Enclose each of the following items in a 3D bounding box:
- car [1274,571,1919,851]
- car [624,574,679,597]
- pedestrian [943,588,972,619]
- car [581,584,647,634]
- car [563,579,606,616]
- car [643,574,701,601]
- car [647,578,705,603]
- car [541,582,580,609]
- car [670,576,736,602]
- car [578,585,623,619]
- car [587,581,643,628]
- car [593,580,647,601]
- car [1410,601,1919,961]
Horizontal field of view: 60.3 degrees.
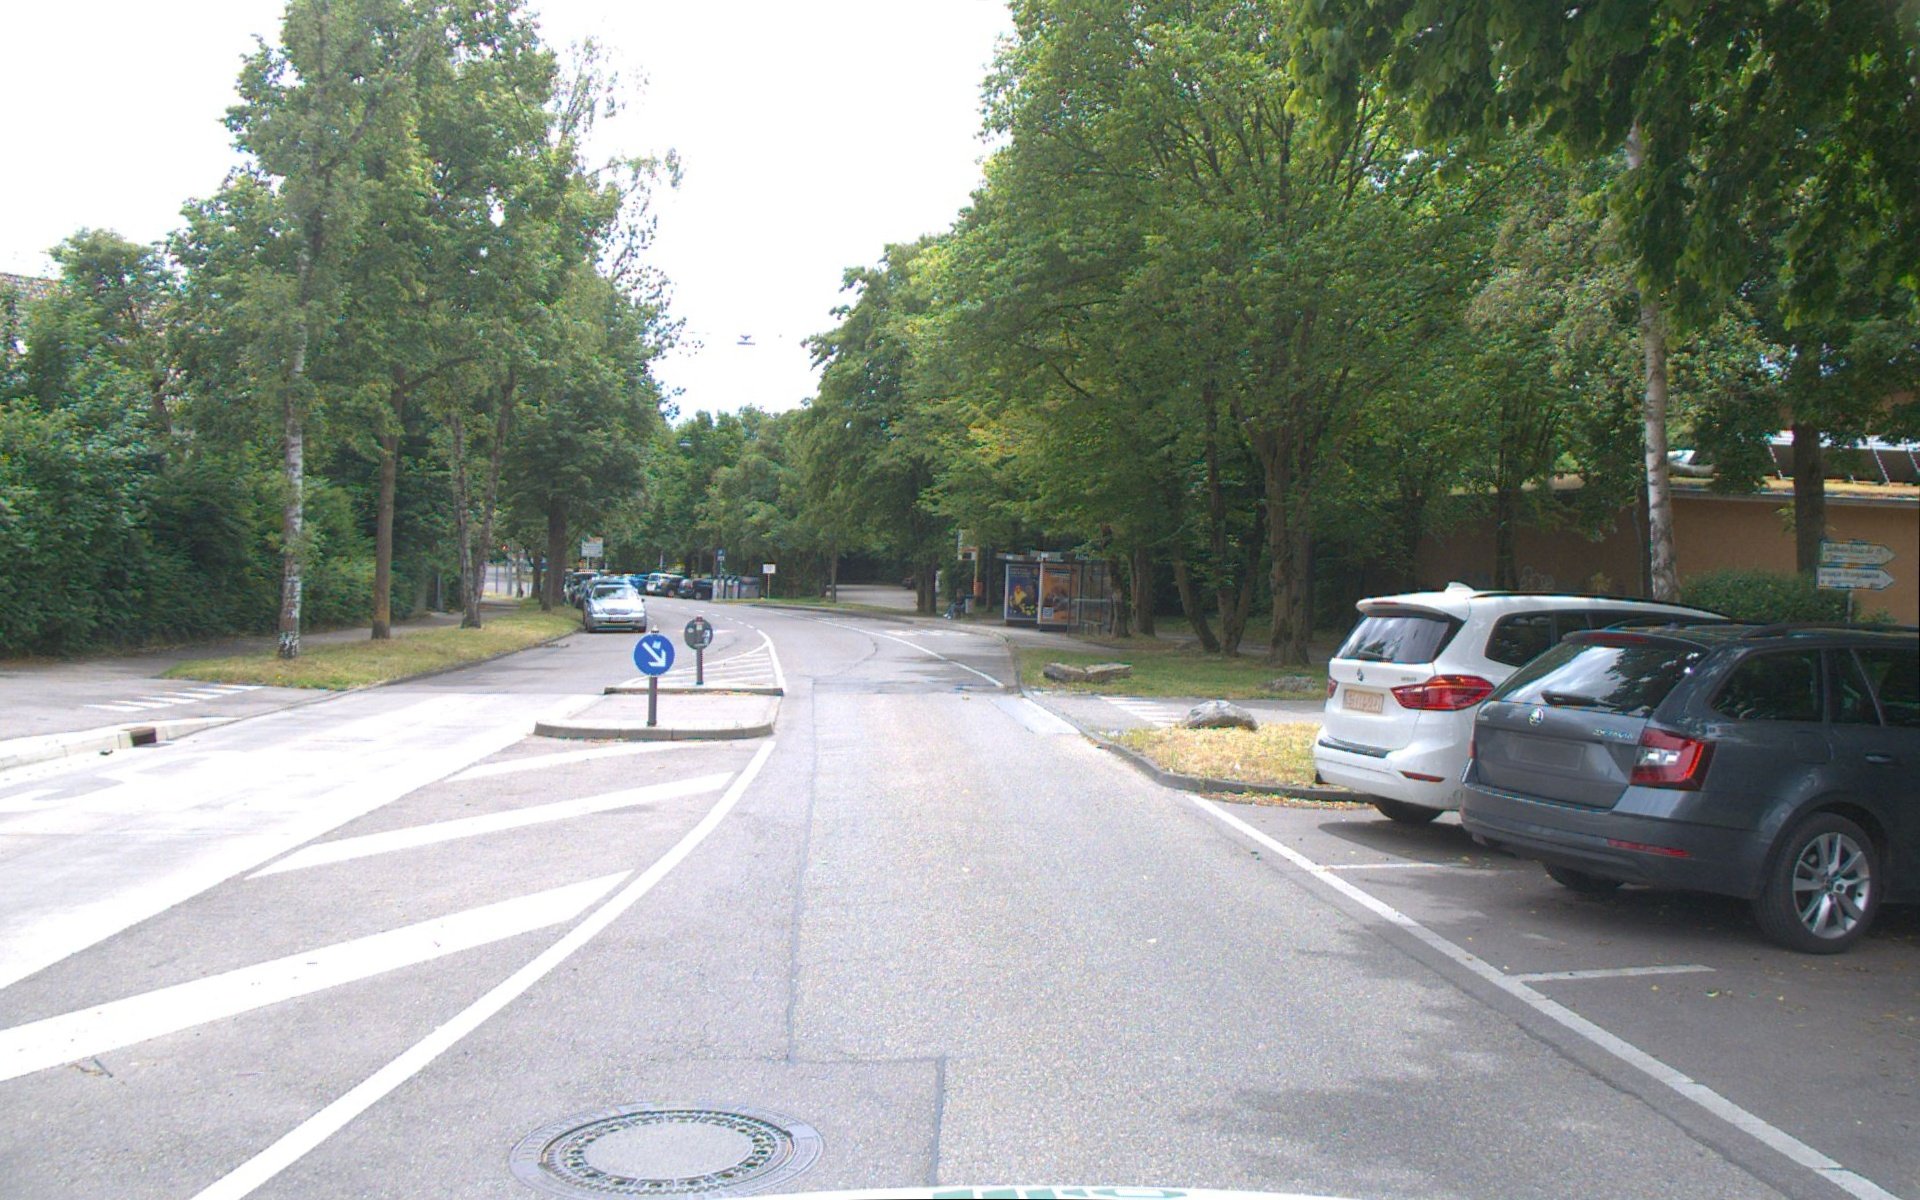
[{"bbox_3d":[4.572,0.726,11.171,4.391,1.613,1.900,3,0,-13],"label":"car"},{"bbox_3d":[-23.620,-1.088,126.634,3.800,1.555,1.719,4,-2,-43],"label":"car"},{"bbox_3d":[-0.112,0.147,65.985,1.046,1.203,0.578,0,0,-16],"label":"pedestrian"},{"bbox_3d":[-10.667,0.242,50.789,1.707,1.441,4.453,0,1,-16],"label":"car"},{"bbox_3d":[-20.208,-0.167,88.918,1.829,1.942,5.057,0,0,-18],"label":"car"},{"bbox_3d":[-21.347,-0.953,122.505,3.800,1.750,1.848,4,-2,-43],"label":"car"},{"bbox_3d":[-20.597,-0.693,120.077,3.800,1.493,1.719,4,-1,-43],"label":"car"},{"bbox_3d":[-25.258,-0.301,104.425,1.780,1.590,4.238,-3,1,-22],"label":"car"},{"bbox_3d":[-17.515,-0.720,112.774,3.968,1.438,2.026,4,0,-43],"label":"car"},{"bbox_3d":[-17.265,0.091,79.275,1.836,1.565,4.209,0,0,-16],"label":"car"},{"bbox_3d":[-11.800,0.130,56.775,1.704,1.565,4.180,0,1,-10],"label":"car"},{"bbox_3d":[-27.450,-0.753,133.680,3.854,1.451,1.801,4,-2,-43],"label":"car"},{"bbox_3d":[4.578,0.848,8.495,4.071,1.489,1.788,3,0,-20],"label":"car"}]
